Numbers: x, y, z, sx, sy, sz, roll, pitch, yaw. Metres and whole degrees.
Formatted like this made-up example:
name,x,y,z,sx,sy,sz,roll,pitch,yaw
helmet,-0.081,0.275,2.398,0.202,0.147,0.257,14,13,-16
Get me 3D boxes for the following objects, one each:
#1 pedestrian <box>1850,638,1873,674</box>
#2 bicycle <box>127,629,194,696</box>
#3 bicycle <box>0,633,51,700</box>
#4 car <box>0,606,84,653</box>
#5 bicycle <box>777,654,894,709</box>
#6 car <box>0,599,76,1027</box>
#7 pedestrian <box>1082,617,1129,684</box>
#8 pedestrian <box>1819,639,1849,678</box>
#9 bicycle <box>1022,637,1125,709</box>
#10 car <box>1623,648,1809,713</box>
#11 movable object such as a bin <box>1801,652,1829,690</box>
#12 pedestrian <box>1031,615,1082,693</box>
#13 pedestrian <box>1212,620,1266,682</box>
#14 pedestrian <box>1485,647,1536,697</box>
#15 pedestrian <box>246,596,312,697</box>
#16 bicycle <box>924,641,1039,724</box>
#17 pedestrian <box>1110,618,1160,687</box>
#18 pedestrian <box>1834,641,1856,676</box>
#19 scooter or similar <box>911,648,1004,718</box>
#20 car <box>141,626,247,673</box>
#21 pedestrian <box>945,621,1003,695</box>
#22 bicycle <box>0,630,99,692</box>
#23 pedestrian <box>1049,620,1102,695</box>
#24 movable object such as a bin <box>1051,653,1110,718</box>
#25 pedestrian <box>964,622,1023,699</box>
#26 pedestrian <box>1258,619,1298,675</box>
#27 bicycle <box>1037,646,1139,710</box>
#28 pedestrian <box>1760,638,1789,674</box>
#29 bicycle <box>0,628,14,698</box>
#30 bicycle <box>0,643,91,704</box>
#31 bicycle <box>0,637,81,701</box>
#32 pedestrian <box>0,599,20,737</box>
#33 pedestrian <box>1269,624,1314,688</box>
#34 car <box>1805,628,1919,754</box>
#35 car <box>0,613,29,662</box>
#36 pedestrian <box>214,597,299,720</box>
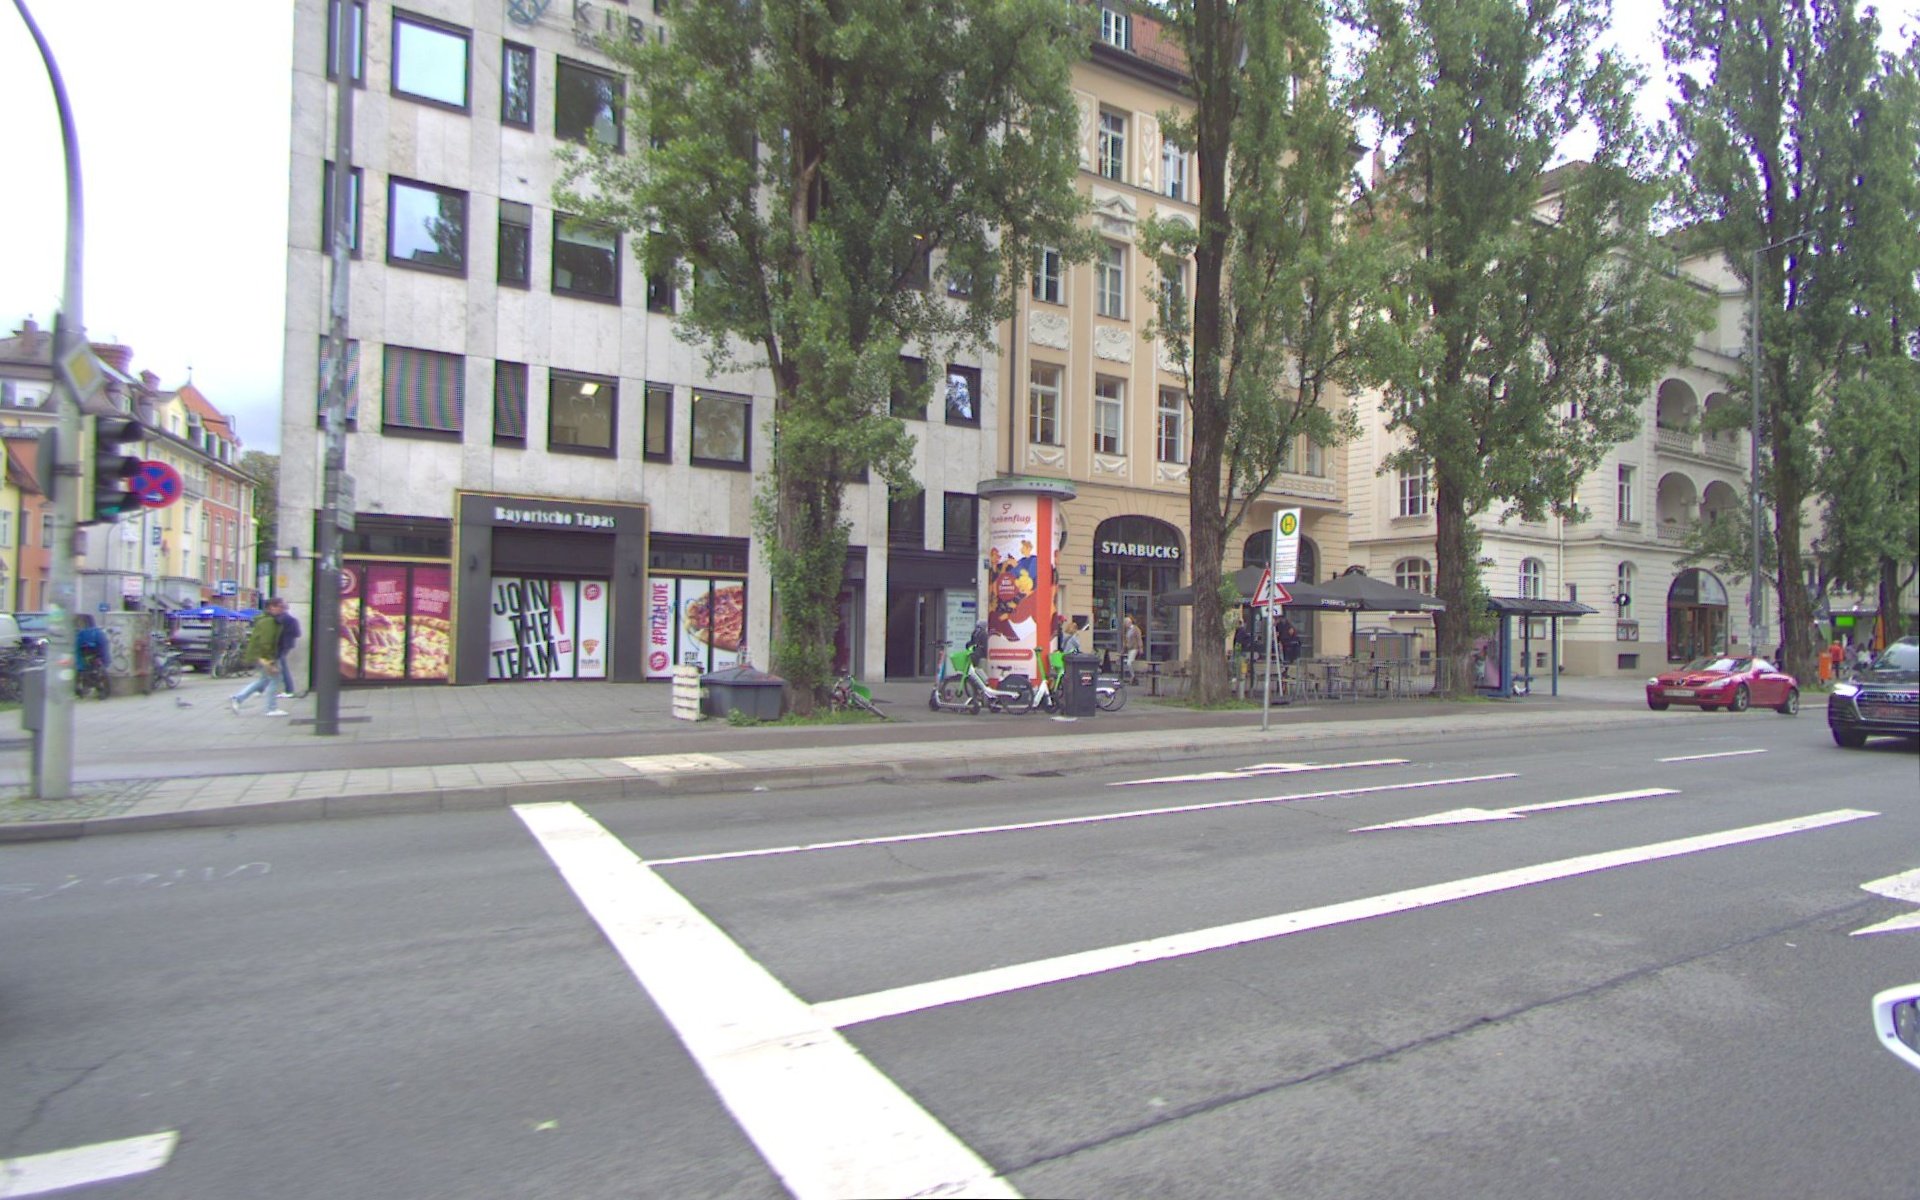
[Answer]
name,x,y,z,sx,sy,sz,roll,pitch,yaw
pedestrian,44.558,2.762,49.639,0.817,1.744,0.622,2,-2,-31
bicycle,-15.996,1.221,20.142,0.550,1.265,2.126,2,-2,-26
bicycle,-17.785,1.192,18.106,2.014,1.199,0.412,2,-2,-37
car,-31.405,0.966,33.809,1.762,1.438,4.043,3,-2,-25
bicycle,-2.124,1.364,16.962,1.926,0.515,0.830,2,-22,42
car,-4.985,0.706,2.681,3.653,1.515,1.554,2,-3,-31
pedestrian,4.001,1.381,27.643,0.943,1.767,0.840,2,0,-29
pedestrian,38.615,2.583,44.375,0.941,1.695,0.731,2,-2,-30
bicycle,2.224,1.415,19.794,1.919,1.318,0.584,0,-2,29
car,17.121,1.778,22.729,4.044,1.315,1.871,2,-2,-29
movable object such as a bin,30.712,2.542,36.075,0.579,1.333,0.602,2,-2,-30
pedestrian,2.337,1.288,24.283,0.901,1.811,0.796,2,0,-30
pedestrian,8.007,1.458,28.825,0.977,1.707,1.077,2,0,-29
pedestrian,15.122,1.966,27.613,0.747,1.273,0.957,2,0,-28
pedestrian,-12.452,0.845,18.389,0.808,1.811,0.697,1,-1,-22
bicycle,0.375,1.426,17.609,1.915,1.307,0.508,2,0,18
pedestrian,4.659,1.395,26.719,0.943,1.767,0.840,2,0,-29
pedestrian,44.226,2.914,50.184,0.817,1.744,0.622,2,-2,-31
scooter or similar,-0.050,1.400,17.200,1.531,1.128,0.389,0,-1,20
car,-25.612,1.651,33.729,1.973,1.490,3.976,1,-3,-25
pedestrian,0.307,1.279,22.268,0.979,1.588,0.746,2,0,-33
bicycle,-18.515,1.213,20.036,2.028,1.199,0.415,1,-1,-14
pedestrian,2.711,1.335,23.572,0.966,1.704,0.728,2,0,-30
movable object such as a bin,2.126,1.489,17.627,0.712,1.055,0.854,2,0,31
pedestrian,0.717,1.287,21.553,0.979,1.588,0.746,2,0,-33
pedestrian,10.236,1.515,32.370,0.809,1.767,0.903,2,-1,-25
bicycle,2.363,1.450,18.624,1.776,1.102,0.507,2,0,-7
pedestrian,35.958,2.465,44.332,0.795,1.557,0.765,2,-1,-31
bicycle,-17.317,1.068,16.987,1.836,1.199,0.412,2,-2,-37
bicycle,-19.176,1.493,20.558,0.444,1.199,2.051,0,-2,43
bicycle,-18.048,1.304,19.065,0.410,1.199,1.999,0,-2,40
pedestrian,-11.913,0.797,11.903,0.924,1.640,0.774,2,-2,-31
pedestrian,9.515,1.599,28.847,0.809,1.767,0.903,2,0,-25
car,14.815,1.315,15.085,4.533,1.703,1.904,2,-2,-31
car,-29.088,1.082,29.184,1.762,1.438,4.043,3,-2,-25
pedestrian,-10.463,0.851,14.973,0.931,1.763,0.723,2,0,-31
